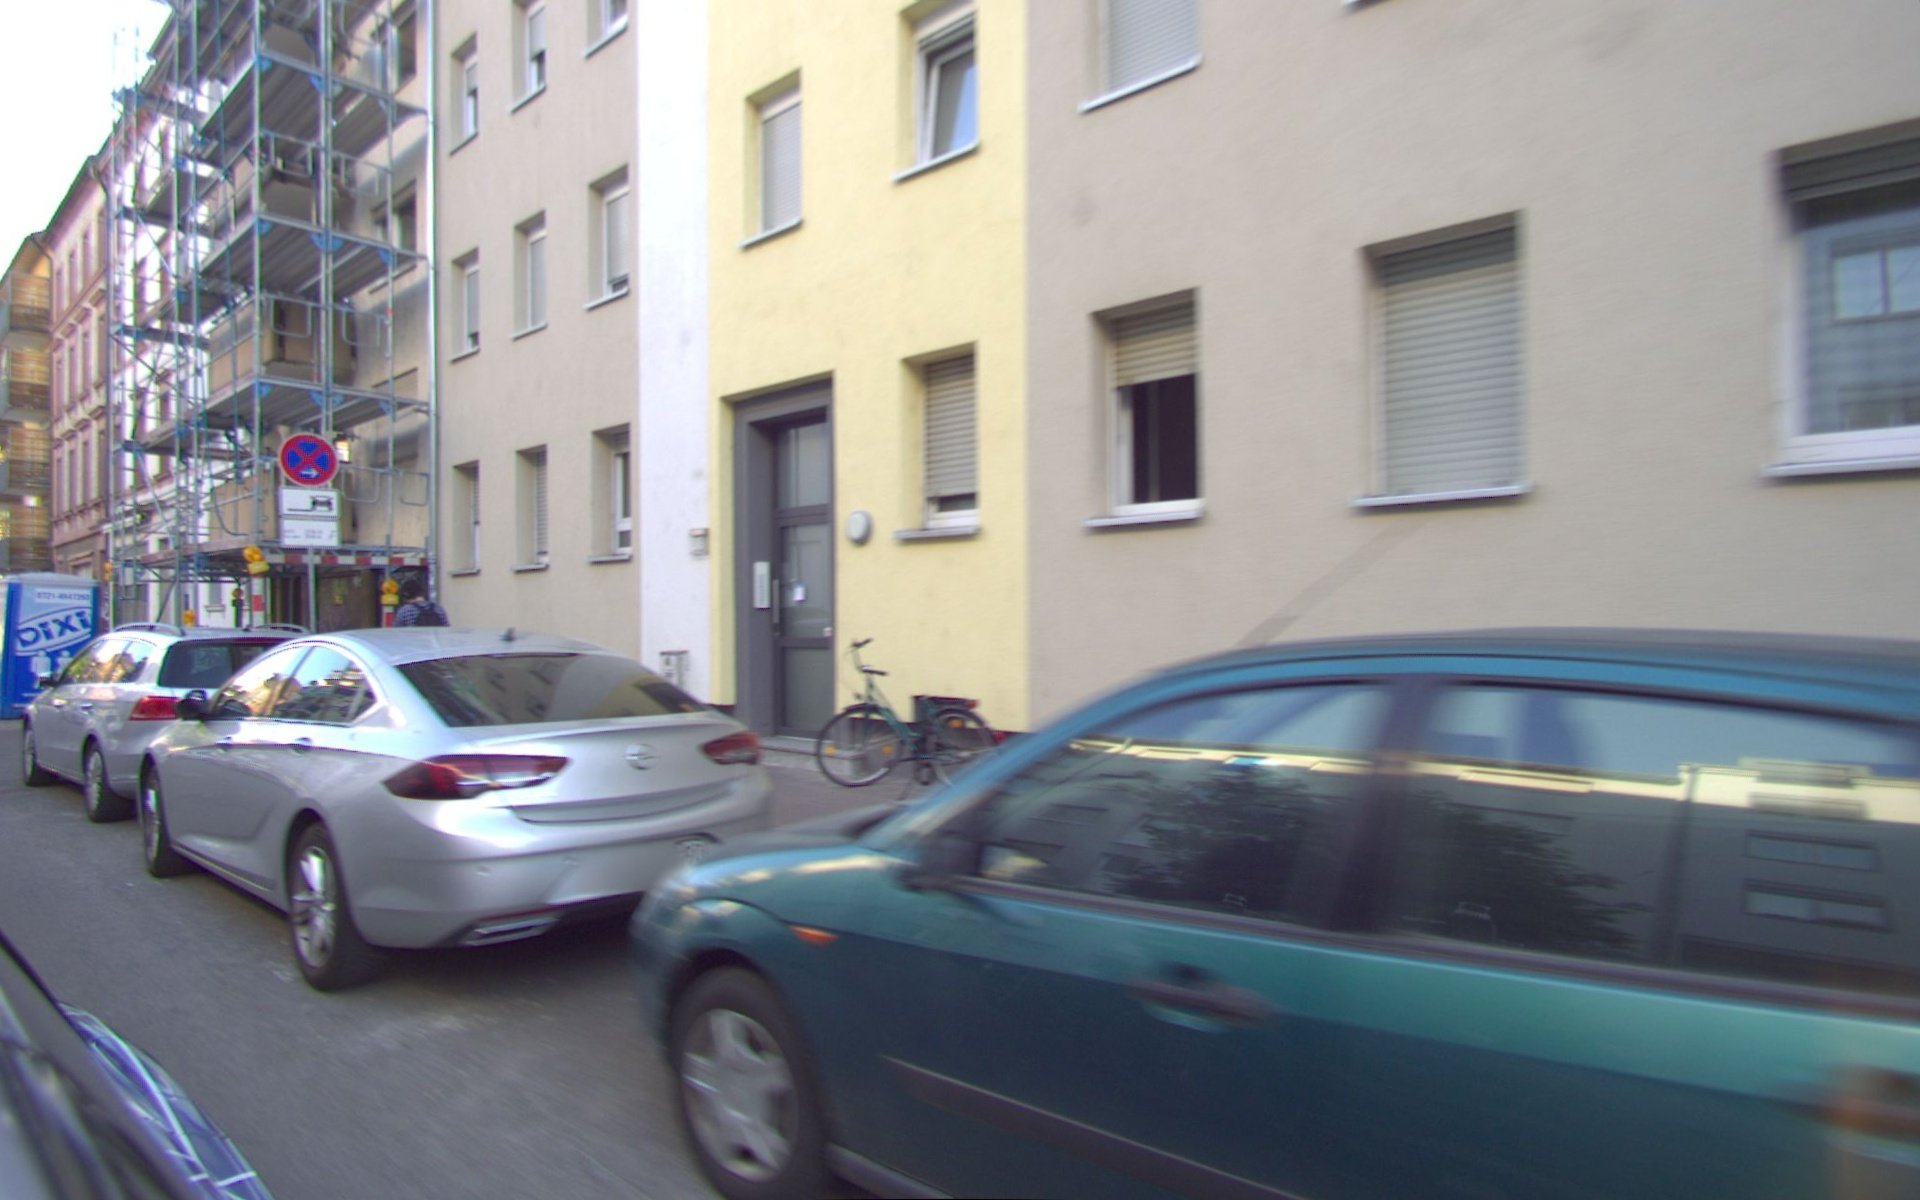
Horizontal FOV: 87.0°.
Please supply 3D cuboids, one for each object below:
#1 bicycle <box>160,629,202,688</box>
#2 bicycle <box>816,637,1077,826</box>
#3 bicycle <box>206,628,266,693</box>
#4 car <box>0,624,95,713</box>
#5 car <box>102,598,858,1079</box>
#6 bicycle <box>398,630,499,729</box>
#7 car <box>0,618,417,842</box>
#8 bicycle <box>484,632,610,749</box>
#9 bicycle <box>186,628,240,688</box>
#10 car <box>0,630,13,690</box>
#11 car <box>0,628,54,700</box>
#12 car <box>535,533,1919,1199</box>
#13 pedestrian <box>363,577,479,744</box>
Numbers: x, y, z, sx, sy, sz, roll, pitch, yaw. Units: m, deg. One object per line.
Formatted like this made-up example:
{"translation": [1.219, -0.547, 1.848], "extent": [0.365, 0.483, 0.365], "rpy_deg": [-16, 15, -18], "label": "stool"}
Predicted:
{"translation": [-17.054, 1.252, 22.175], "extent": [0.483, 1.177, 1.687], "rpy_deg": [-3, 2, -31], "label": "bicycle"}
{"translation": [-0.140, 0.863, 7.257], "extent": [1.922, 1.177, 0.604], "rpy_deg": [-1, -3, 38], "label": "bicycle"}
{"translation": [-14.036, 1.150, 19.602], "extent": [1.814, 1.177, 0.437], "rpy_deg": [-1, 2, 39], "label": "bicycle"}
{"translation": [-17.639, 1.201, 18.575], "extent": [3.996, 1.516, 1.974], "rpy_deg": [-1, -3, 39], "label": "car"}
{"translation": [-2.840, 0.811, 5.409], "extent": [4.614, 1.500, 1.903], "rpy_deg": [-1, -3, 40], "label": "car"}
{"translation": [-6.612, 0.986, 13.048], "extent": [1.814, 1.177, 0.400], "rpy_deg": [-1, 2, 39], "label": "bicycle"}
{"translation": [-6.832, 0.935, 8.995], "extent": [4.612, 1.500, 1.903], "rpy_deg": [-1, -3, 39], "label": "car"}
{"translation": [-4.626, 0.966, 11.271], "extent": [1.730, 1.177, 0.473], "rpy_deg": [-1, 2, 39], "label": "bicycle"}
{"translation": [-15.450, 1.182, 20.921], "extent": [1.814, 1.177, 0.400], "rpy_deg": [-1, 2, 39], "label": "bicycle"}
{"translation": [-25.305, 1.465, 25.203], "extent": [3.996, 1.443, 1.974], "rpy_deg": [-1, -3, 39], "label": "car"}
{"translation": [-21.241, 1.331, 21.786], "extent": [3.996, 1.459, 1.974], "rpy_deg": [-1, -3, 39], "label": "car"}
{"translation": [0.981, 0.718, 2.292], "extent": [4.417, 1.500, 1.761], "rpy_deg": [-1, -3, 40], "label": "car"}
{"translation": [-6.085, 0.661, 11.425], "extent": [1.091, 1.774, 0.781], "rpy_deg": [-1, -3, 41], "label": "pedestrian"}
